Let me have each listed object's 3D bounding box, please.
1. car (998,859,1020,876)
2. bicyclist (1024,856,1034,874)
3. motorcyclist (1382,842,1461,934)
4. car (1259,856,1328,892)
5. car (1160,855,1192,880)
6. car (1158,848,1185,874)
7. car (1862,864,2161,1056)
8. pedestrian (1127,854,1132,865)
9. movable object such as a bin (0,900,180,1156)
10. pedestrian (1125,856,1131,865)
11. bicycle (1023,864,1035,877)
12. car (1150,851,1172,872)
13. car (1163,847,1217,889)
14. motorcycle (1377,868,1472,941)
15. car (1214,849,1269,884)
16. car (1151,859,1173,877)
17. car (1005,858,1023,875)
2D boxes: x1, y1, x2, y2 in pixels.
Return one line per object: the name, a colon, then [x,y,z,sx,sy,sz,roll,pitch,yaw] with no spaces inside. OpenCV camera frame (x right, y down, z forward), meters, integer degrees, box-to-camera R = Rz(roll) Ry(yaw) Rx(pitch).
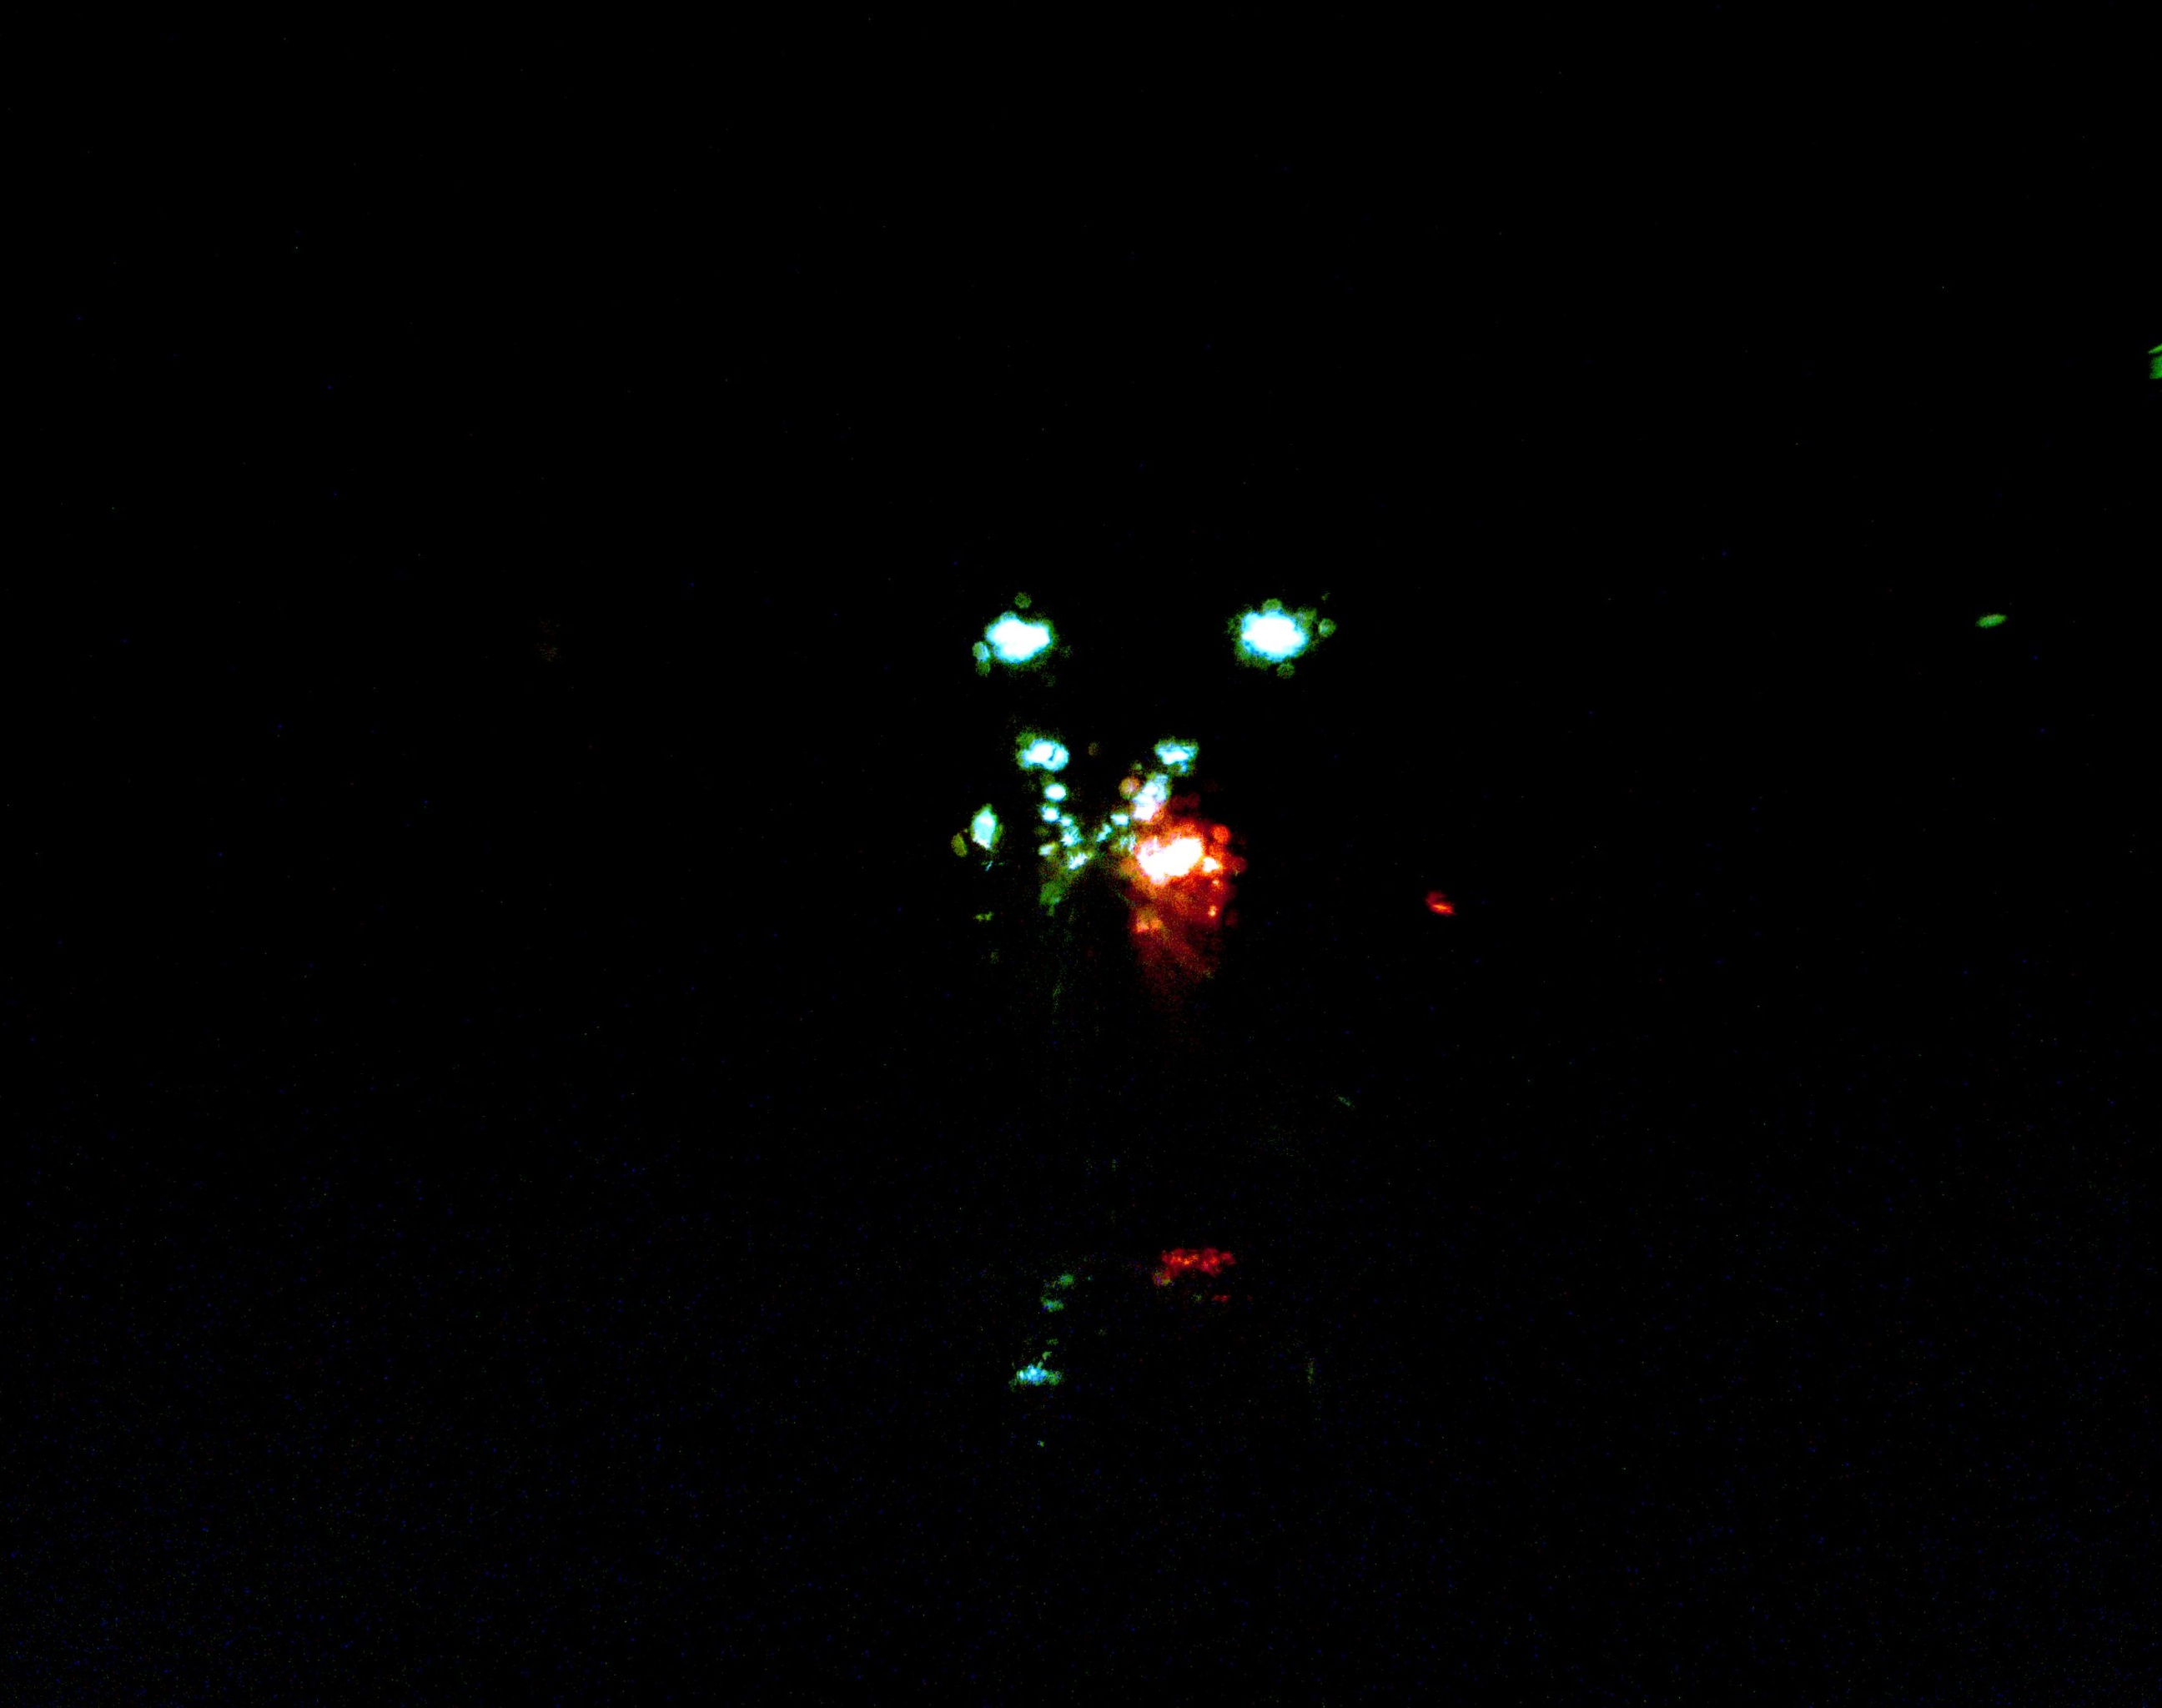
car: [-6.598,1.215,70.224,1.649,1.433,4.055,3,0,-1]
bicyclist: [-4.441,0.943,64.571,0.571,1.539,0.816,-2,1,10]
motorcyclist: [6.857,0.657,15.356,0.921,1.730,1.135,4,2,-3]
car: [9.464,0.842,34.140,1.770,1.398,4.140,-3,0,-2]
car: [5.896,0.820,47.639,1.655,1.470,4.206,1,0,3]
car: [6.904,0.548,58.555,1.930,1.868,4.639,1,0,6]
car: [9.435,0.873,6.373,1.672,1.378,4.000,-3,1,1]
pedestrian: [7.270,0.787,113.902,0.401,1.620,0.531,-4,2,-43]
movable object such as a bin: [-6.831,1.031,4.640,1.353,1.399,1.025,-1,1,-20]
pedestrian: [7.069,0.964,115.225,0.586,1.246,0.623,-4,2,-43]
bicycle: [-4.419,1.395,64.617,0.571,0.964,1.781,-2,1,10]
car: [7.538,0.659,71.834,1.899,1.858,4.537,0,0,3]
car: [5.028,0.623,35.591,1.943,1.805,4.385,1,0,1]
motorcycle: [6.842,0.971,15.260,0.819,1.223,1.999,4,1,-3]
car: [9.544,0.746,45.680,1.999,1.815,5.309,-4,-1,-1]
car: [6.946,1.209,65.431,1.796,1.456,3.903,-1,0,5]
car: [-6.665,1.229,75.559,1.652,1.516,3.579,3,0,-4]
